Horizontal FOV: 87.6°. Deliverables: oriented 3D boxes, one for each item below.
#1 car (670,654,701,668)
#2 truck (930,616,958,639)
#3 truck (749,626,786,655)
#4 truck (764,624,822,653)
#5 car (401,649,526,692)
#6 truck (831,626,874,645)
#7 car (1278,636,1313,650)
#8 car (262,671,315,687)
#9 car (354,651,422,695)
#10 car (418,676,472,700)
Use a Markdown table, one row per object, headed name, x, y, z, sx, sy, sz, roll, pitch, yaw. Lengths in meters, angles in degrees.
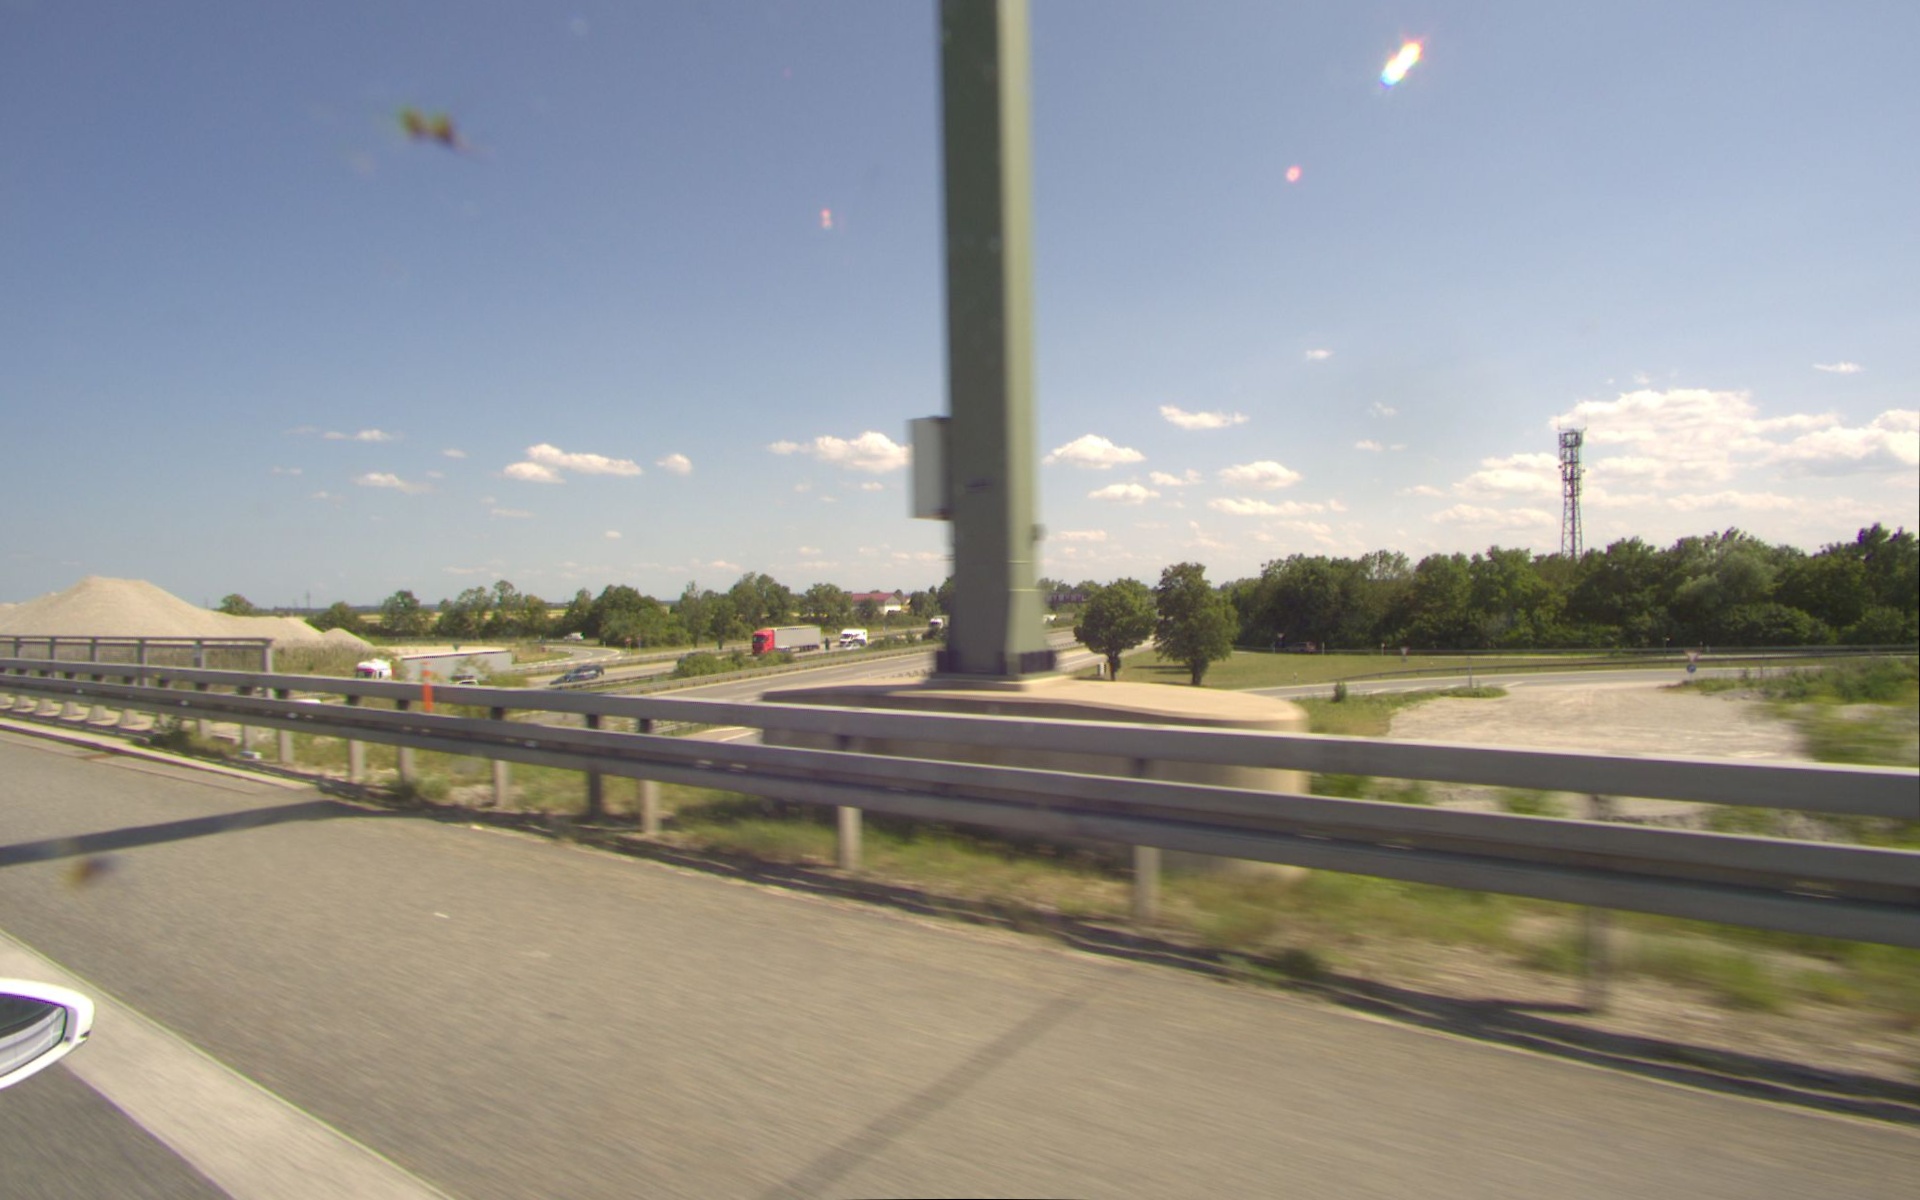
| name | x | y | z | sx | sy | sz | roll | pitch | yaw |
| --- | --- | --- | --- | --- | --- | --- | --- | --- | --- |
| car | -37.912 | 8.440 | 138.480 | 1.830 | 1.757 | 4.335 | -1 | -1 | 22 |
| truck | -3.310 | 5.806 | 215.014 | 3.098 | 4.837 | 8.223 | -1 | -1 | 22 |
| truck | -29.908 | 6.241 | 155.822 | 2.822 | 4.119 | 5.937 | -1 | 1 | 24 |
| truck | -26.982 | 6.162 | 162.421 | 2.822 | 4.119 | 12.536 | -1 | 1 | 24 |
| car | -50.971 | 7.143 | 103.533 | 2.442 | 4.014 | 12.976 | -1 | -2 | 25 |
| truck | -19.375 | 6.406 | 181.250 | 3.099 | 3.099 | 10.019 | -1 | -1 | 24 |
| car | 46.517 | 6.006 | 138.964 | 1.737 | 1.827 | 4.647 | 3 | -5 | -30 |
| car | -69.872 | 8.221 | 104.294 | 1.967 | 1.629 | 4.120 | -1 | -5 | 24 |
| car | -54.563 | 6.926 | 95.594 | 2.442 | 4.014 | 5.145 | -1 | -2 | 25 |
| car | -50.224 | 8.573 | 97.751 | 1.967 | 2.039 | 4.397 | -1 | -2 | 25 |
